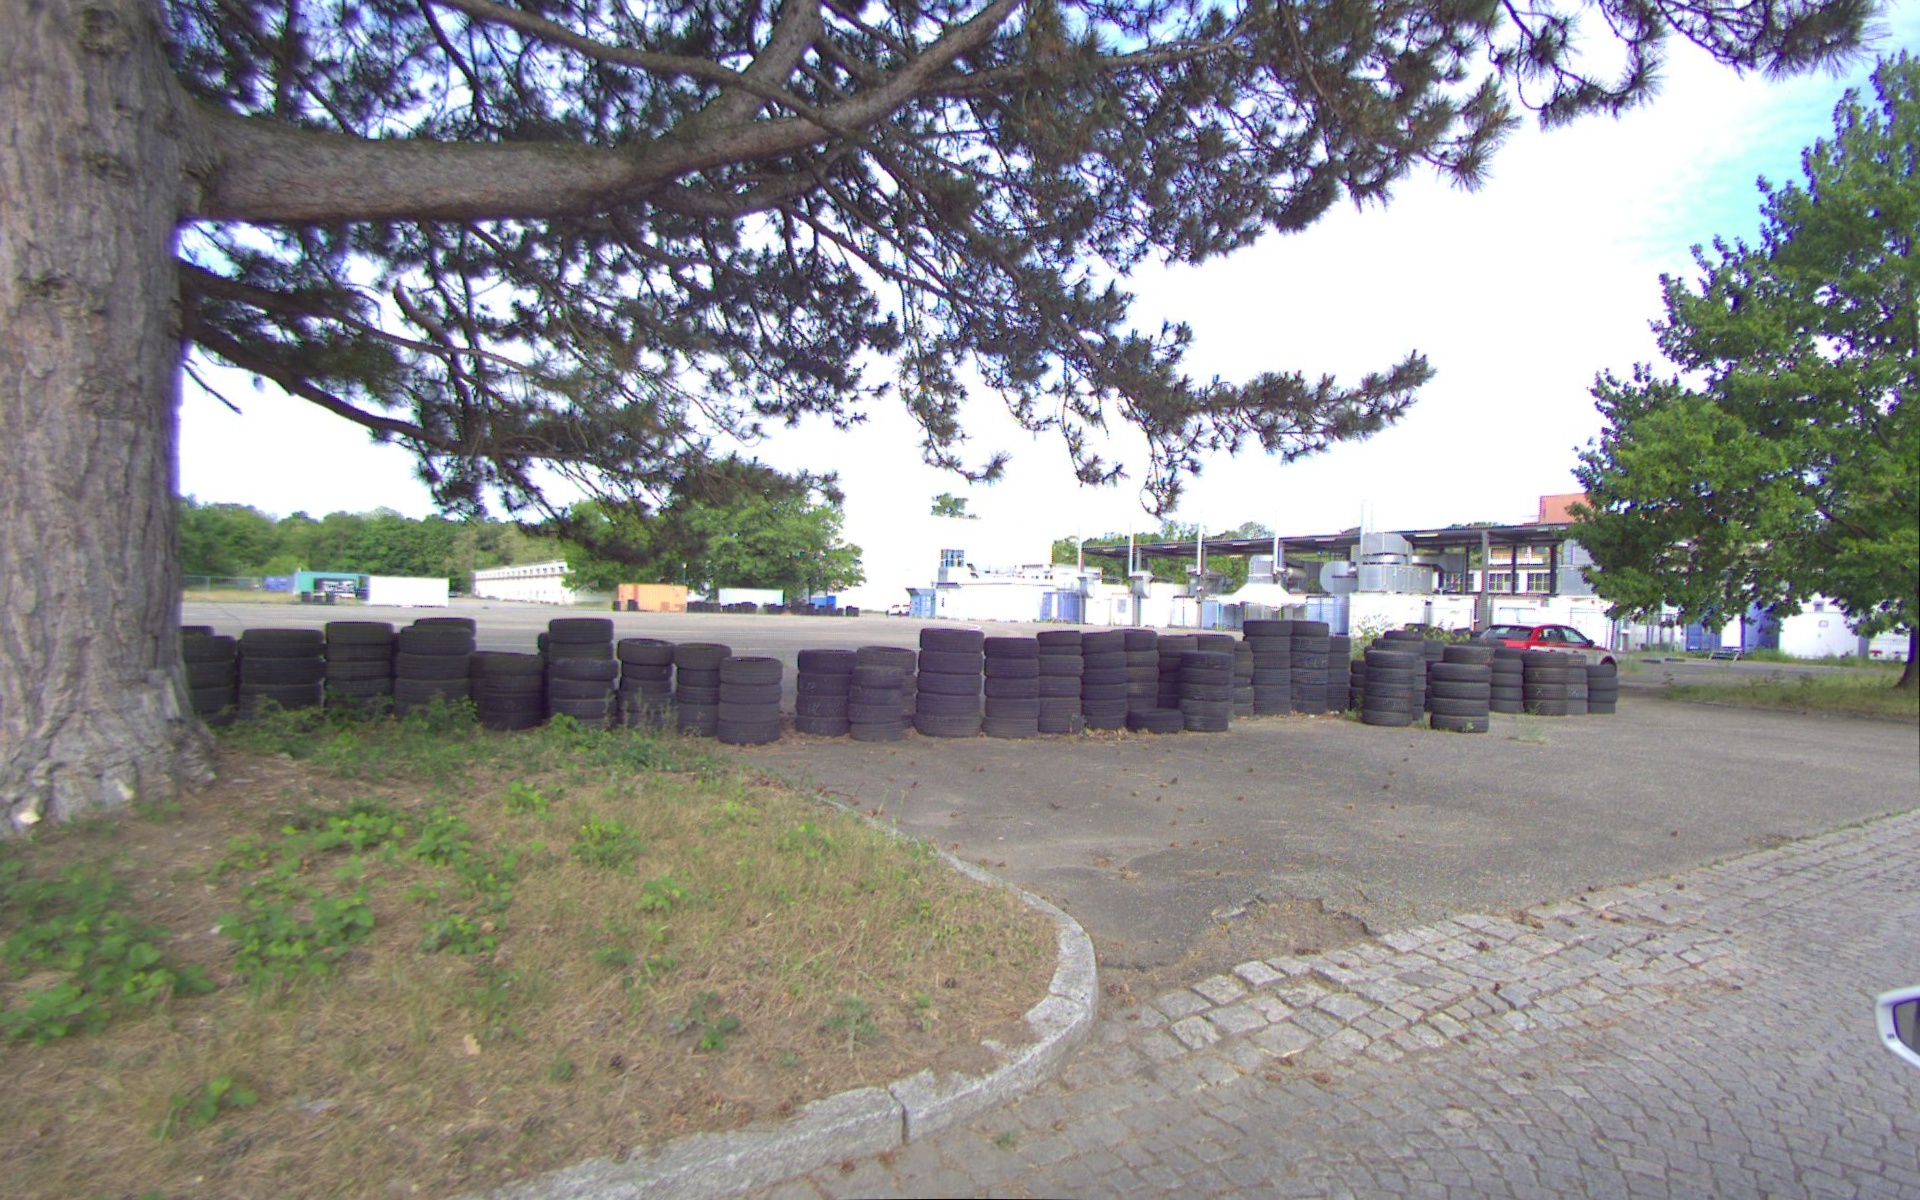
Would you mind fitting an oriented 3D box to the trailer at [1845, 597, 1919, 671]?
[{"bbox_3d":[43.884,1.560,45.554,8.683,3.108,3.142,2,0,-31],"label":"trailer"}]

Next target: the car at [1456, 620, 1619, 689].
[{"bbox_3d":[13.742,1.282,23.891,3.444,1.472,1.760,2,0,-27],"label":"car"}]

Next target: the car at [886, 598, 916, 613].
[{"bbox_3d":[-6.906,0.643,117.173,1.614,1.553,3.941,2,0,-34],"label":"car"}]
